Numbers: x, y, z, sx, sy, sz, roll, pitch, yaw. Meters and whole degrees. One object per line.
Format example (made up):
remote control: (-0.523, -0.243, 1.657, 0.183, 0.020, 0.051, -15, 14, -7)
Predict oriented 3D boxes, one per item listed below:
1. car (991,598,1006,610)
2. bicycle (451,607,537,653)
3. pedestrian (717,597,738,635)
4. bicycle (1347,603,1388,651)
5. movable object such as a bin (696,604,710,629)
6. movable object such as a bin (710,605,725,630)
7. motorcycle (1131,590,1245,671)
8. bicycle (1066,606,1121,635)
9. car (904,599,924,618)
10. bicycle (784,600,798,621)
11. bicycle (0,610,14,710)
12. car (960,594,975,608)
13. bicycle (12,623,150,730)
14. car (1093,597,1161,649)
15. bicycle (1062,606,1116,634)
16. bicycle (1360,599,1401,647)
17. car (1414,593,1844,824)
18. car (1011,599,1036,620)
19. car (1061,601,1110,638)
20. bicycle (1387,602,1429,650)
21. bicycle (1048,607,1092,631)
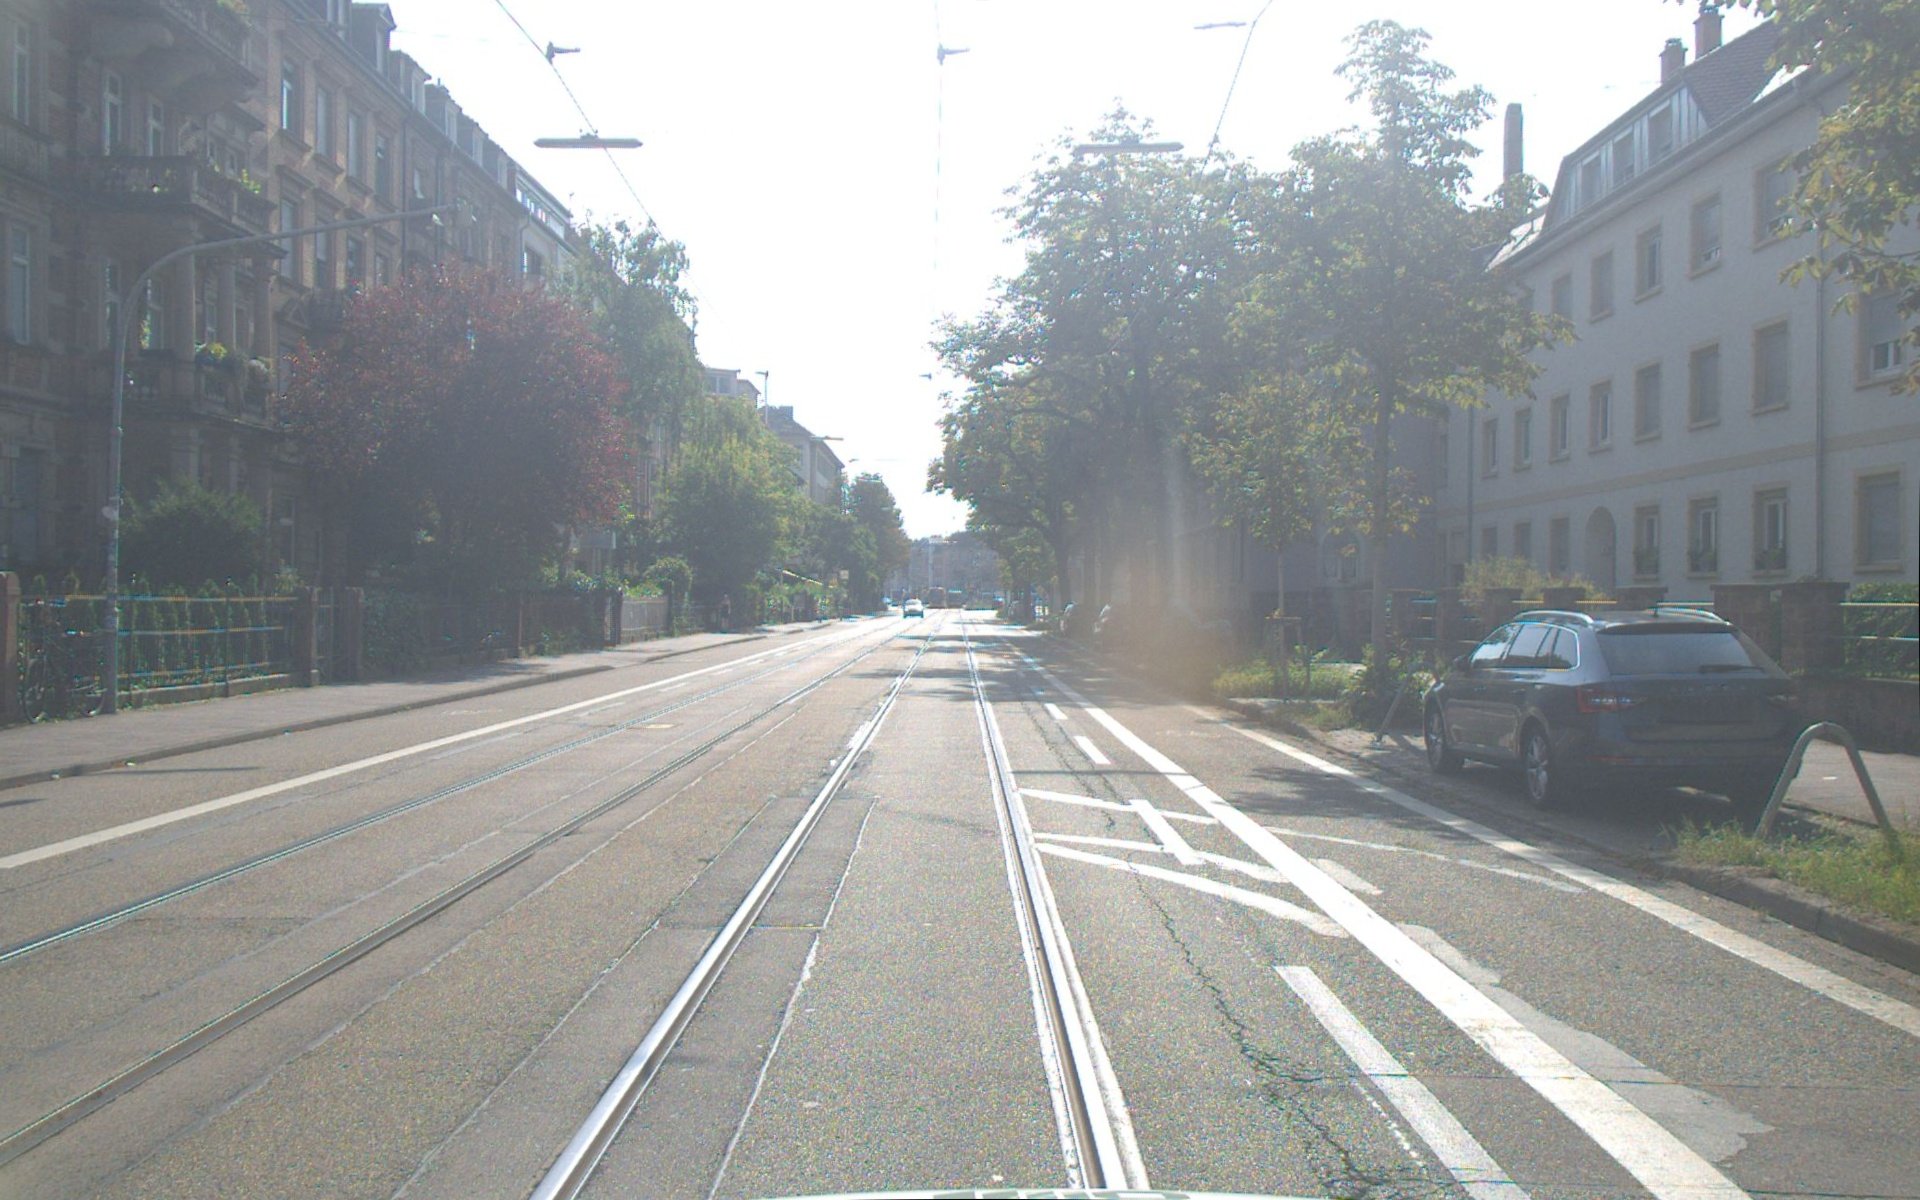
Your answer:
car: (5.861, 0.615, 252.691, 1.952, 1.814, 4.002, 2, 0, 4)
bicycle: (-11.567, 0.736, 41.087, 1.975, 1.123, 0.588, 0, 0, -3)
pedestrian: (-9.918, 0.692, 70.524, 0.737, 1.619, 0.878, 0, 0, 0)
bicycle: (9.983, 0.656, 40.585, 0.414, 1.123, 1.999, 0, 0, -2)
movable object such as a bin: (-11.416, 0.734, 73.427, 0.578, 1.097, 0.704, 0, 0, -6)
movable object such as a bin: (-10.760, 0.757, 73.503, 0.619, 1.097, 0.704, 0, 0, -6)
motorcycle: (4.997, 0.657, 36.322, 2.379, 1.703, 0.907, -1, 0, 45)
bicycle: (5.245, 0.802, 64.993, 2.067, 1.125, 0.562, 0, 0, -8)
car: (-4.063, 0.765, 146.571, 1.691, 1.666, 3.984, 0, 0, 0)
bicycle: (-10.224, 0.625, 100.170, 0.549, 1.242, 2.114, 0, 0, 2)
bicycle: (-11.047, 0.632, 17.888, 1.330, 1.078, 0.417, 2, 0, -3)
car: (1.110, 0.152, 245.510, 1.952, 2.049, 4.002, 2, 0, 3)
bicycle: (-10.011, 0.843, 18.924, 0.498, 1.127, 2.003, 0, 0, 0)
car: (5.222, 0.712, 52.153, 1.691, 1.531, 3.984, -1, 0, 0)
bicycle: (5.124, 0.789, 65.508, 2.067, 1.125, 0.562, 0, 0, -8)
bicycle: (10.292, 0.552, 40.563, 0.416, 1.123, 1.999, 0, 0, -2)
car: (5.281, 0.755, 13.819, 1.708, 1.588, 4.719, 0, 0, 0)
car: (4.832, 0.733, 126.522, 1.735, 1.499, 3.974, 0, -1, 0)
car: (5.210, 0.832, 69.175, 1.735, 1.499, 3.974, 0, -1, 0)
bicycle: (10.991, 0.630, 40.607, 0.416, 1.123, 1.999, 0, 0, -2)
bicycle: (5.296, 0.914, 79.655, 2.064, 1.125, 0.616, -1, 0, -1)
